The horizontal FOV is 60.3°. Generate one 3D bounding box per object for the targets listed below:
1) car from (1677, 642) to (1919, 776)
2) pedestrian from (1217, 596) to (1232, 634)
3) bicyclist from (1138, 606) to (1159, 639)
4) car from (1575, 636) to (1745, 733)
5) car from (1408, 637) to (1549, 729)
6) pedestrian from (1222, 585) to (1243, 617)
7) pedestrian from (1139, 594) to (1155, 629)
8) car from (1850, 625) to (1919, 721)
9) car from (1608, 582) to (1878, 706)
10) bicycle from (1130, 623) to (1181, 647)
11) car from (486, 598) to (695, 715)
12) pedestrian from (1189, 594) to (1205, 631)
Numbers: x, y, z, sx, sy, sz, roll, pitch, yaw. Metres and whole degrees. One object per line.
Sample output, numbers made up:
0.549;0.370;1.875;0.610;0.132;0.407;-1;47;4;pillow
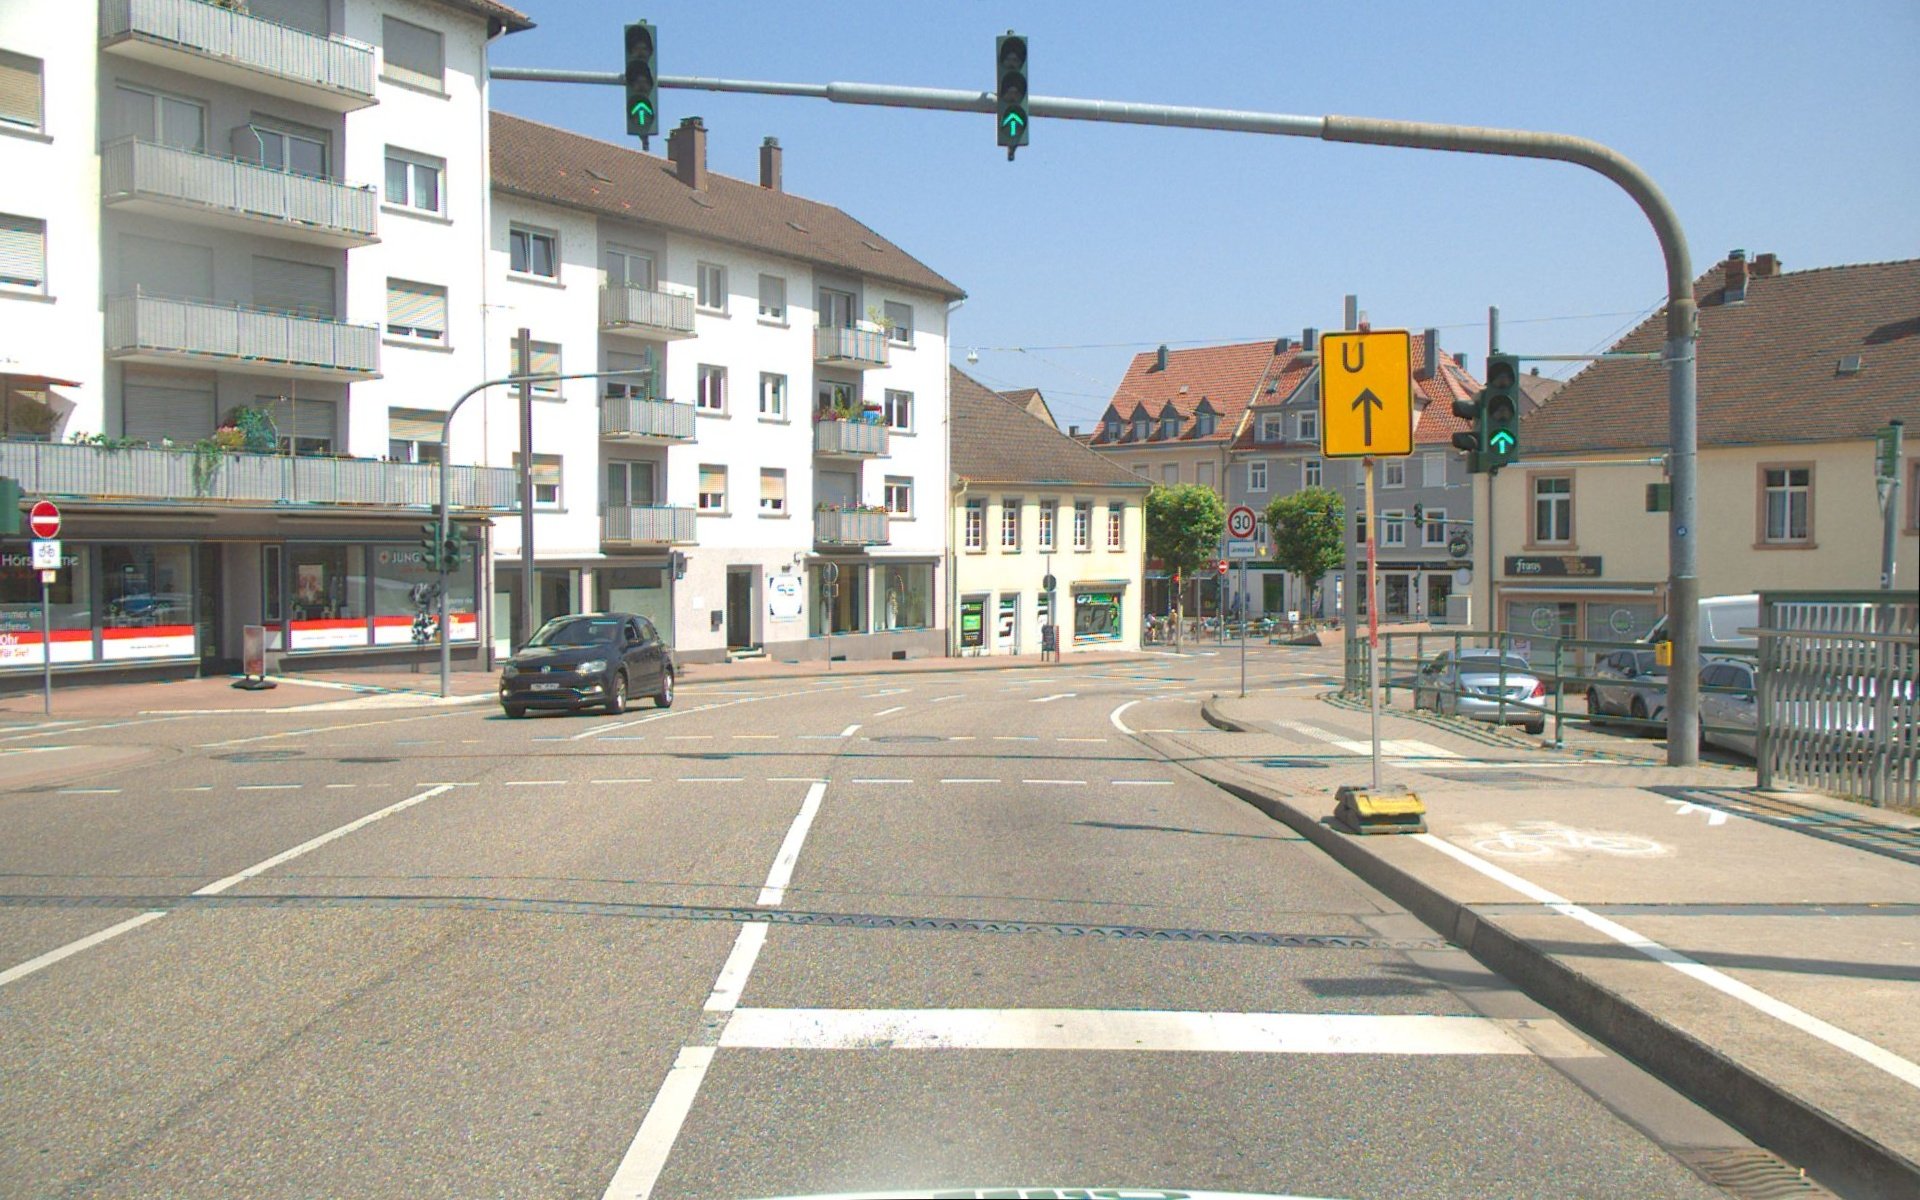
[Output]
12.770;1.585;25.443;1.887;1.607;4.490;1;1;5;car
14.369;0.813;89.901;0.752;2.048;0.563;1;1;11;pedestrian
9.069;1.068;79.443;0.898;1.565;0.649;1;1;-1;bicyclist
12.962;1.515;30.888;1.714;1.546;4.256;1;0;5;car
9.784;1.522;31.521;1.714;1.497;4.256;1;0;5;car
17.601;0.039;106.901;1.013;2.015;1.017;2;1;34;pedestrian
10.299;0.648;91.315;0.810;1.906;0.866;1;1;4;pedestrian
18.112;1.348;30.250;1.714;1.672;4.256;1;0;5;car
18.384;0.947;38.945;5.515;2.673;2.236;1;1;33;car
9.402;1.684;79.493;2.306;1.069;1.071;1;1;-2;bicycle
-5.236;0.813;23.962;1.640;1.514;3.957;-2;-2;8;car
13.205;0.701;92.136;0.780;1.999;0.532;1;1;20;pedestrian
